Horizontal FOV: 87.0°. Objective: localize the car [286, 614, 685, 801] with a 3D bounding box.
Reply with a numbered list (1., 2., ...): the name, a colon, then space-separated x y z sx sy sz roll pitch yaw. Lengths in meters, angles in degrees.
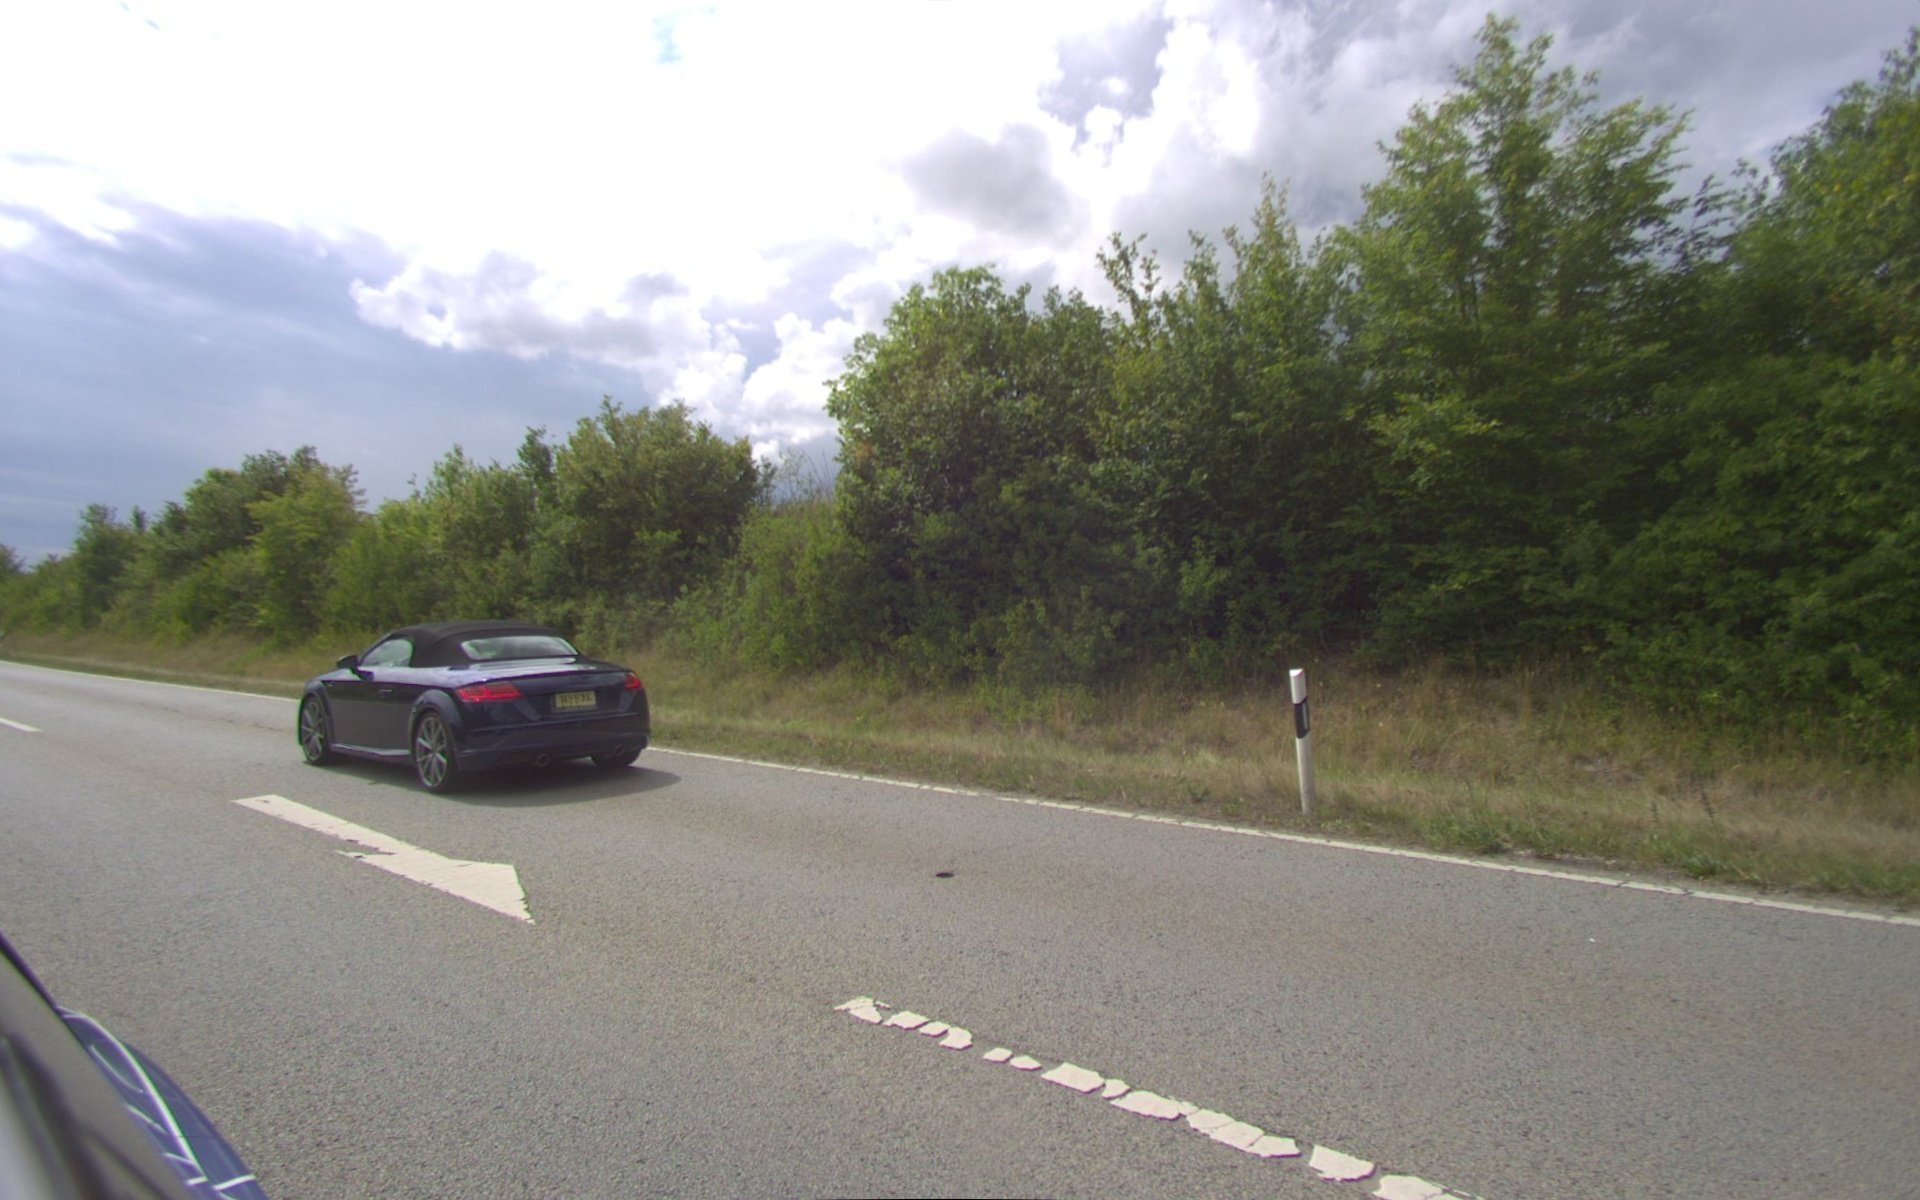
1. car: -4.423 0.813 9.194 3.994 1.340 1.684 -1 -1 38
